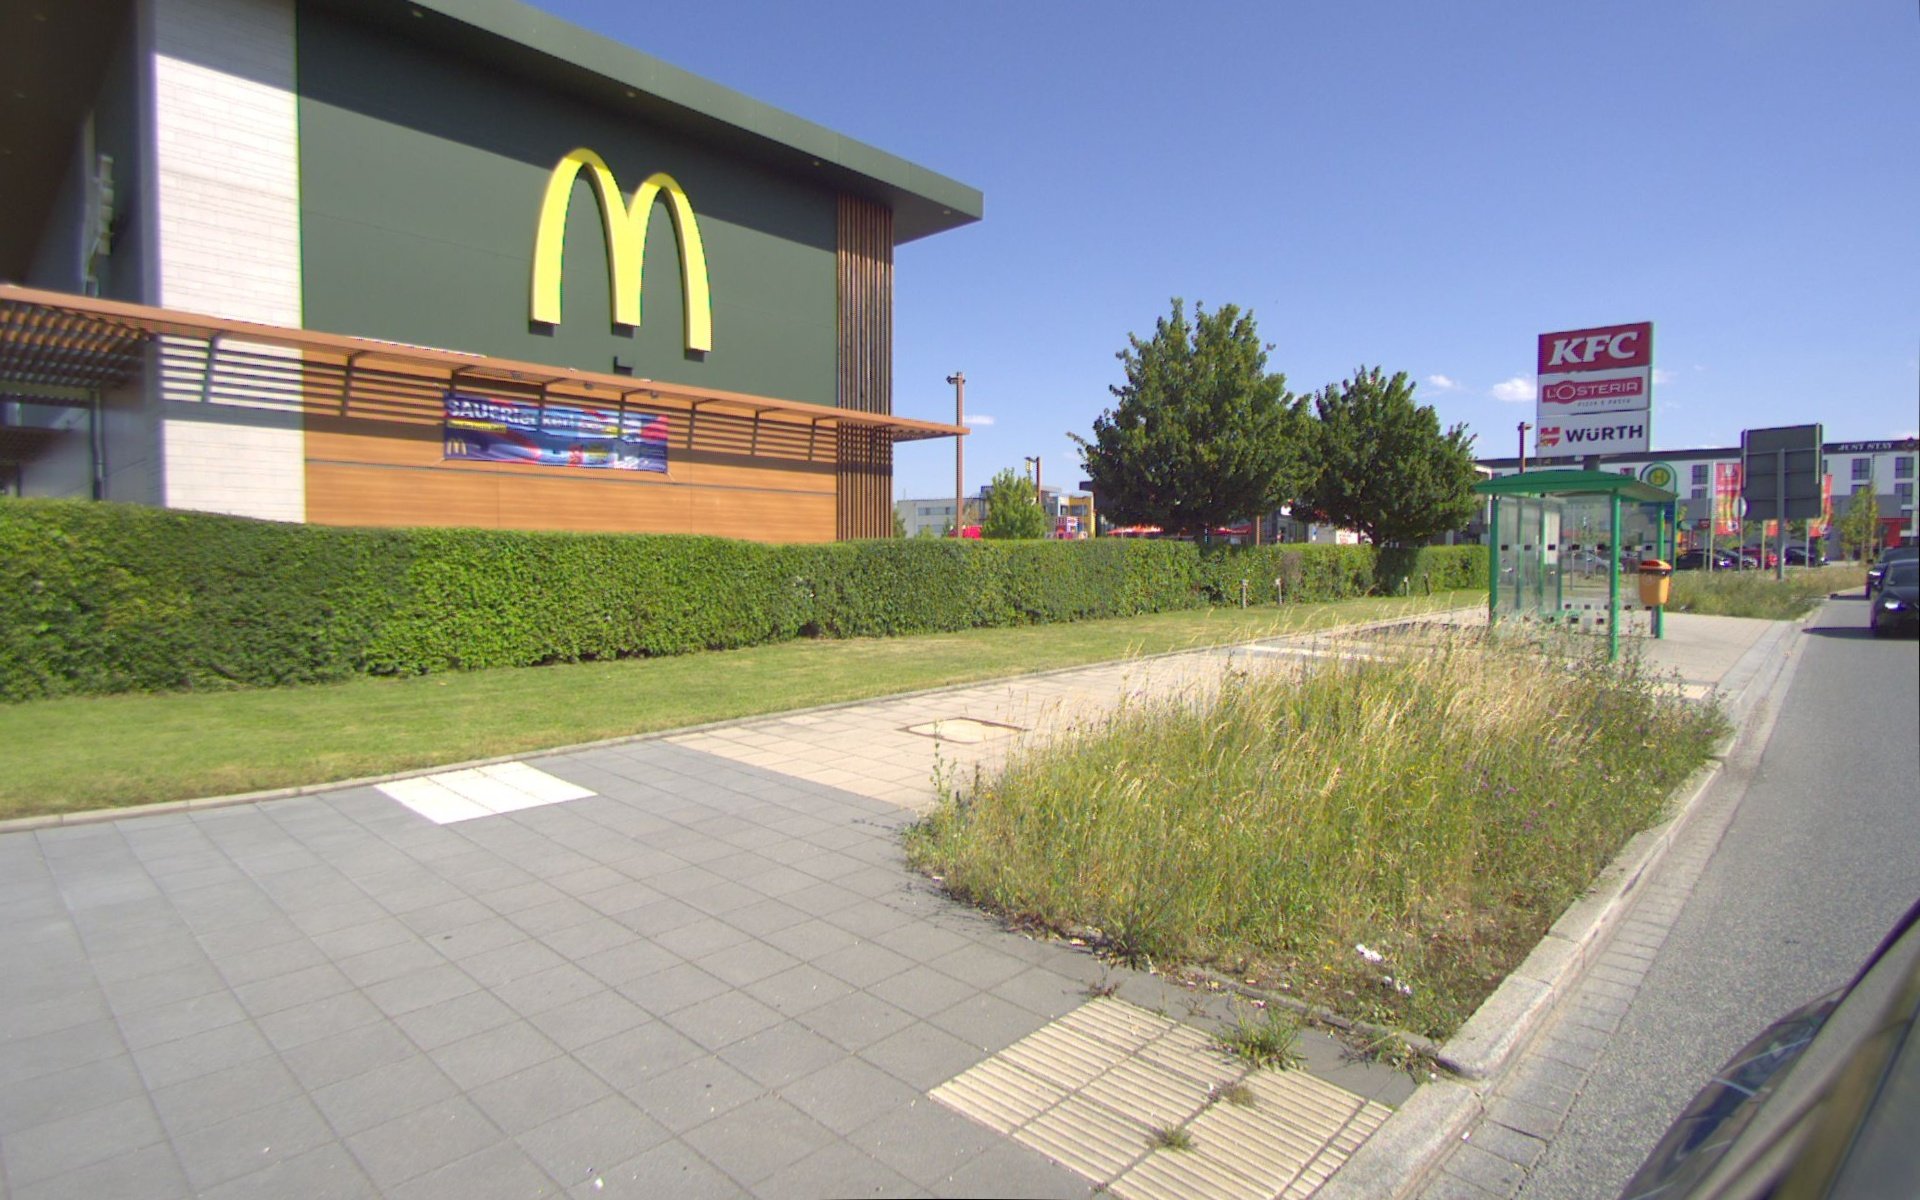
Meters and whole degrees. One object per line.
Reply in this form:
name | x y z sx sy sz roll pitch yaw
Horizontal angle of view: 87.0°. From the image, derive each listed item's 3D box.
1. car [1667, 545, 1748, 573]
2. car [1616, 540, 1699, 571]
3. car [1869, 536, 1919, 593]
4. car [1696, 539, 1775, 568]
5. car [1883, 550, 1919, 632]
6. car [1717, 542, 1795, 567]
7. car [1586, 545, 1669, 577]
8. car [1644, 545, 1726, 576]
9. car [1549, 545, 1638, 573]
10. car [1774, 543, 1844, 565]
car | 52.330 -2.854 70.897 1.767 1.880 4.193 -1 3 -29
car | 46.870 -2.988 68.047 1.896 2.038 4.190 -1 3 -33
car | 30.691 -1.178 32.624 1.857 1.709 3.937 -2 1 45
car | 56.462 -3.371 73.762 1.896 2.038 4.189 -2 3 -34
car | 19.068 -0.220 19.421 1.858 1.486 3.936 0 2 45
car | 59.026 -3.374 75.101 1.787 1.783 4.193 -1 3 -29
car | 43.992 -2.553 66.777 1.895 2.038 4.191 -1 3 -32
car | 49.958 -2.742 69.850 1.896 2.038 4.190 -1 3 -32
car | 40.128 -2.615 64.190 1.899 1.673 4.438 -2 3 -40
car | 65.274 -3.547 77.851 1.723 1.639 3.827 -1 3 -33
